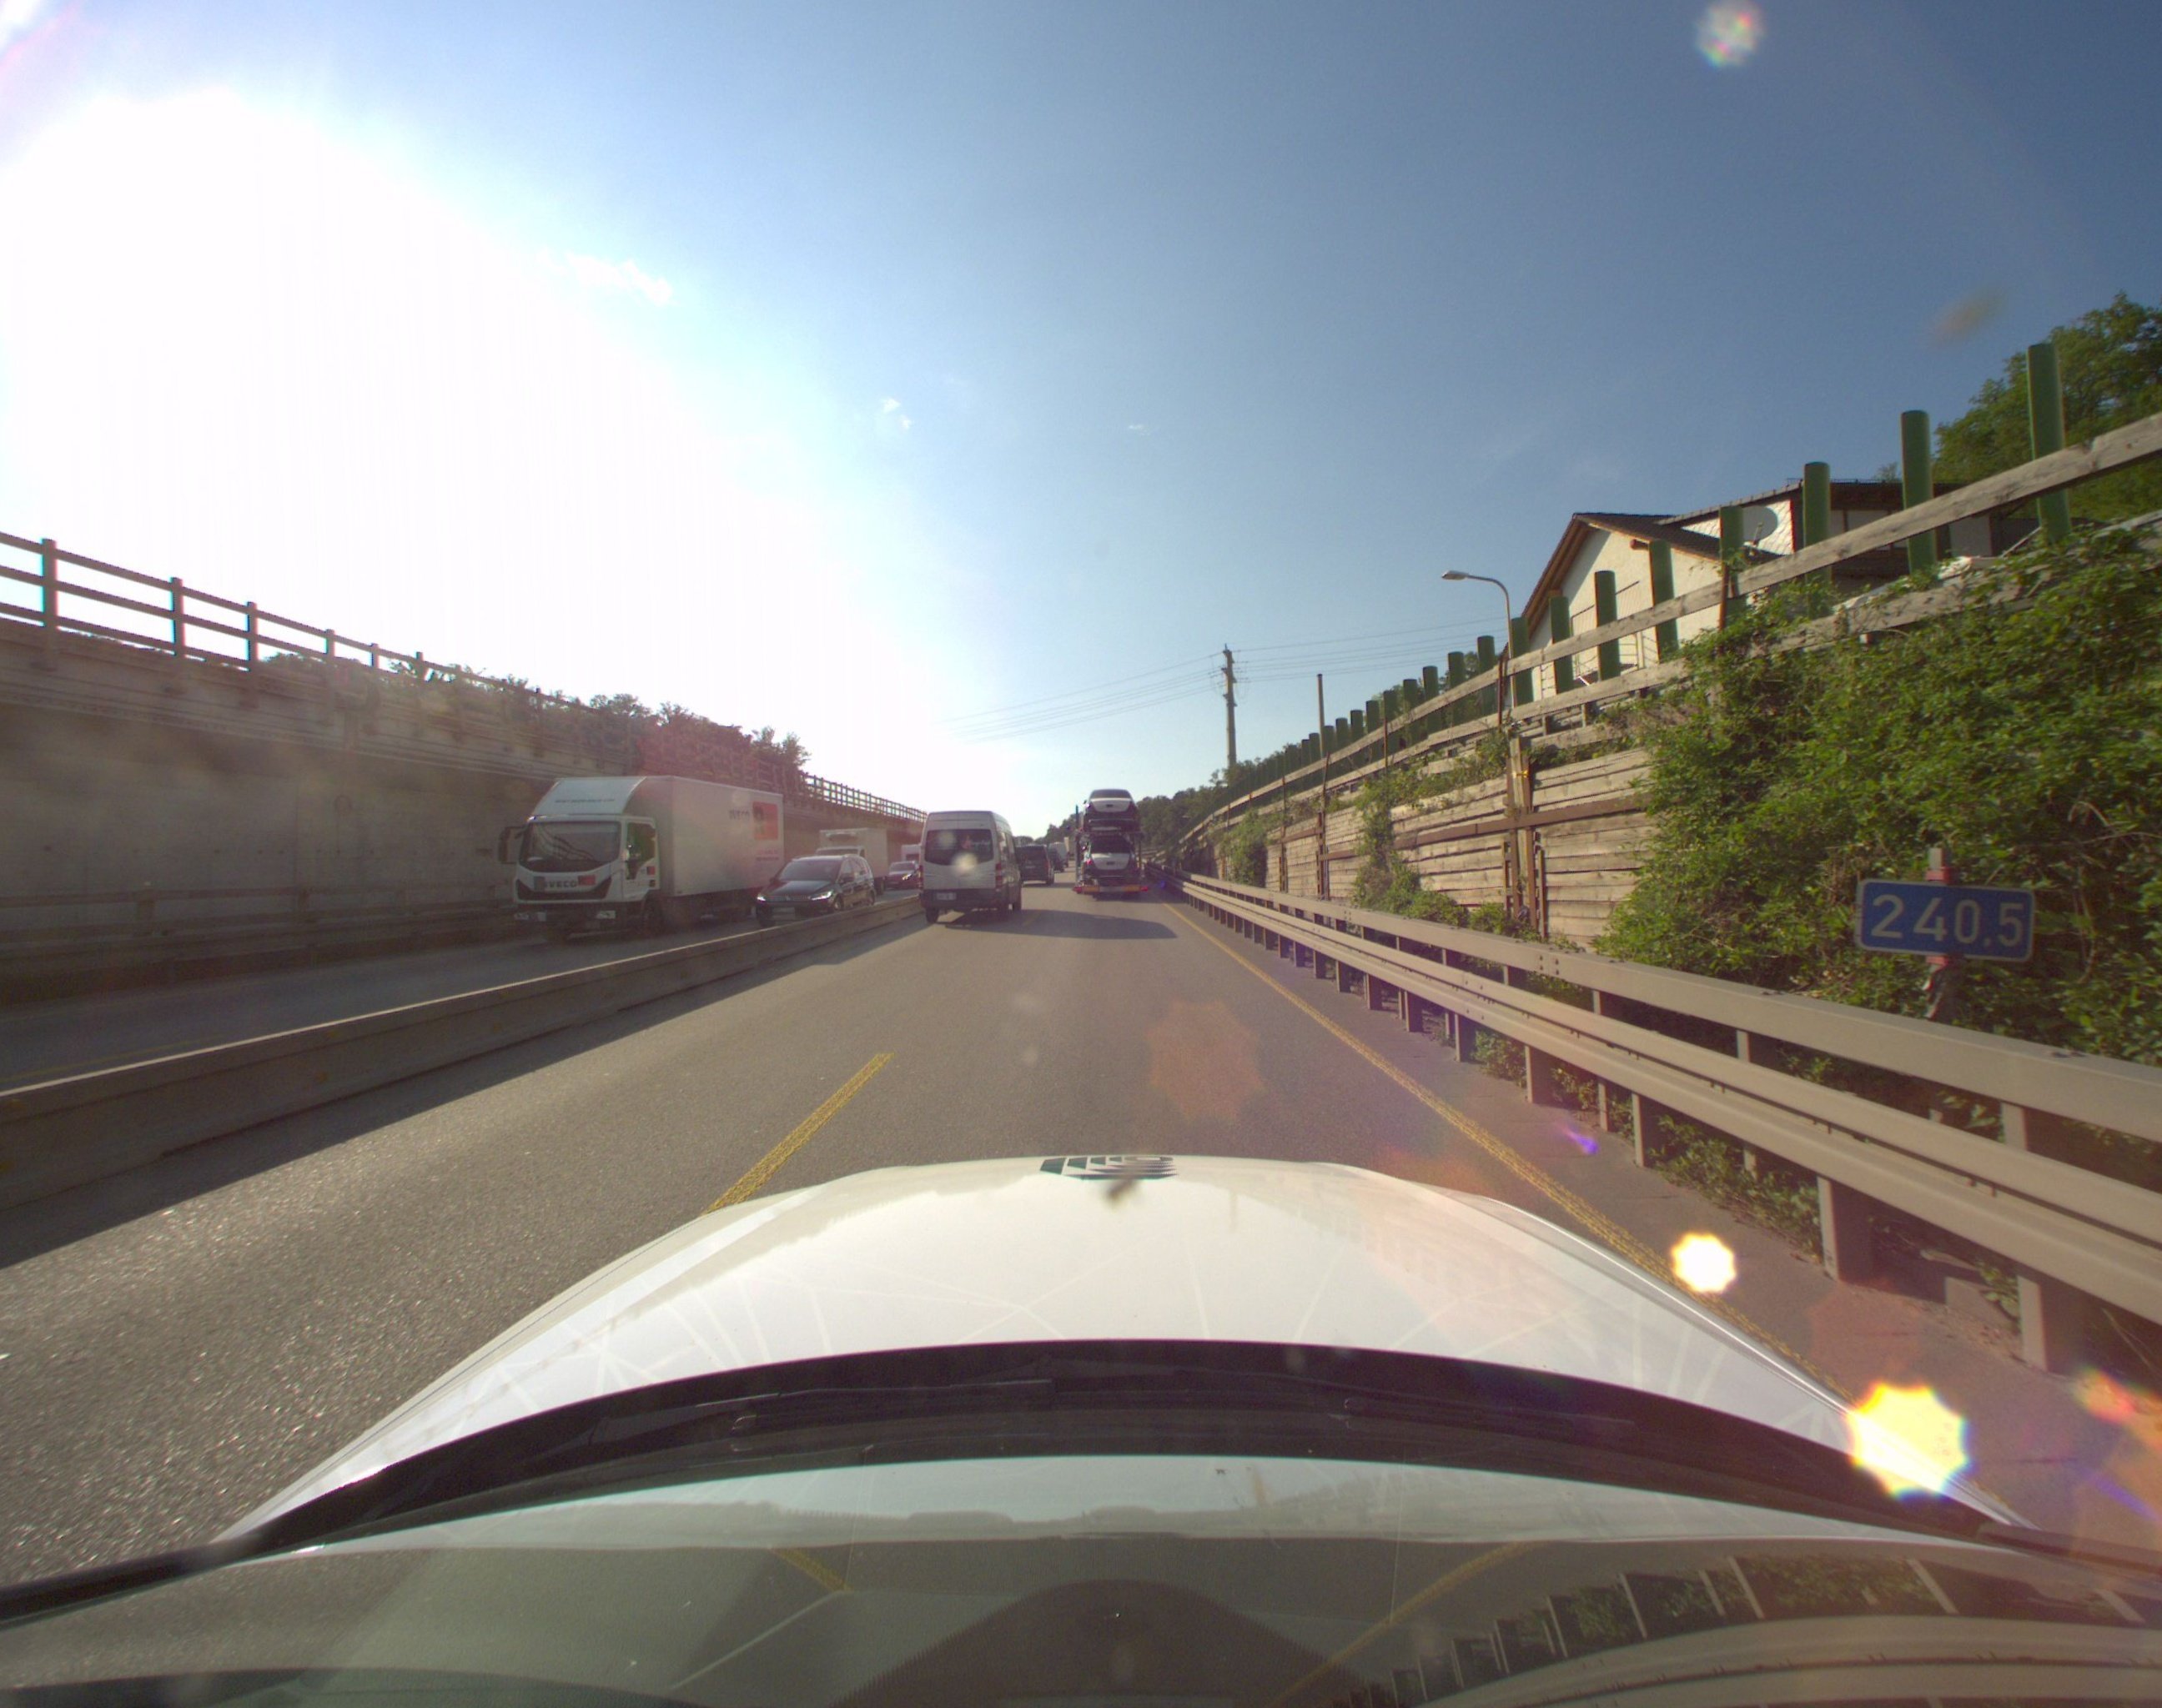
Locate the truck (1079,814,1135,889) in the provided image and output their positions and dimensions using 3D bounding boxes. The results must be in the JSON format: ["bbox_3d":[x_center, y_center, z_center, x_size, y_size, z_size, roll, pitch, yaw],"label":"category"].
[{"bbox_3d":[1.360,-0.061,42.154,2.672,3.535,7.196,0,-1,2],"label":"truck"}]

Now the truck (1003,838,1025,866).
[{"bbox_3d":[-10.224,-0.265,124.999,2.975,4.153,7.387,0,0,-2],"label":"truck"}]

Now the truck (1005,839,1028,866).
[{"bbox_3d":[-10.474,-0.250,133.970,2.974,4.153,15.843,0,0,-2],"label":"truck"}]

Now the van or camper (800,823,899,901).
[{"bbox_3d":[-9.767,0.366,35.014,2.312,2.989,6.223,-2,-1,0],"label":"van or camper"}]

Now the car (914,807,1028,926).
[{"bbox_3d":[-2.662,0.283,21.174,1.986,2.648,5.533,-1,0,2],"label":"car"}]

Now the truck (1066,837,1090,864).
[{"bbox_3d":[-0.637,-0.550,145.469,4.054,4.679,10.585,-1,0,-1],"label":"truck"}]

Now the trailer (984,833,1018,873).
[{"bbox_3d":[-8.885,-0.109,91.440,2.598,4.112,9.626,-4,0,0],"label":"trailer"}]

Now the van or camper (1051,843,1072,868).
[{"bbox_3d":[-2.041,0.170,86.187,1.961,2.592,5.041,0,-1,0],"label":"van or camper"}]

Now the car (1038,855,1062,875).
[{"bbox_3d":[-2.417,0.840,65.020,1.719,1.522,3.973,0,0,0],"label":"car"}]

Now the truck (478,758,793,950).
[{"bbox_3d":[-9.759,0.058,19.251,2.705,3.424,8.141,-3,-1,1],"label":"truck"}]

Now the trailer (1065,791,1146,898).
[{"bbox_3d":[1.096,-0.196,34.588,2.672,3.535,15.294,0,-1,2],"label":"trailer"}]

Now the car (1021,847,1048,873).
[{"bbox_3d":[-4.762,0.652,84.524,2.463,2.534,4.001,-1,-1,1],"label":"car"}]

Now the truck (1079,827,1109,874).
[{"bbox_3d":[1.301,-0.338,85.900,2.899,4.606,7.282,-1,0,-1],"label":"truck"}]

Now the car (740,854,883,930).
[{"bbox_3d":[-6.392,0.861,19.941,1.825,1.645,4.690,0,-1,1],"label":"car"}]

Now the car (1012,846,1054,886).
[{"bbox_3d":[-2.346,0.621,40.661,1.802,1.904,3.999,0,-1,0],"label":"car"}]

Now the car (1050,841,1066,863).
[{"bbox_3d":[-5.285,-0.490,190.692,3.434,5.035,9.649,0,0,-1],"label":"car"}]

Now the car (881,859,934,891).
[{"bbox_3d":[-9.174,1.093,43.483,1.635,1.531,4.785,-2,0,1],"label":"car"}]

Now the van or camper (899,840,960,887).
[{"bbox_3d":[-9.343,0.578,50.870,2.303,2.662,6.457,-3,0,1],"label":"van or camper"}]
